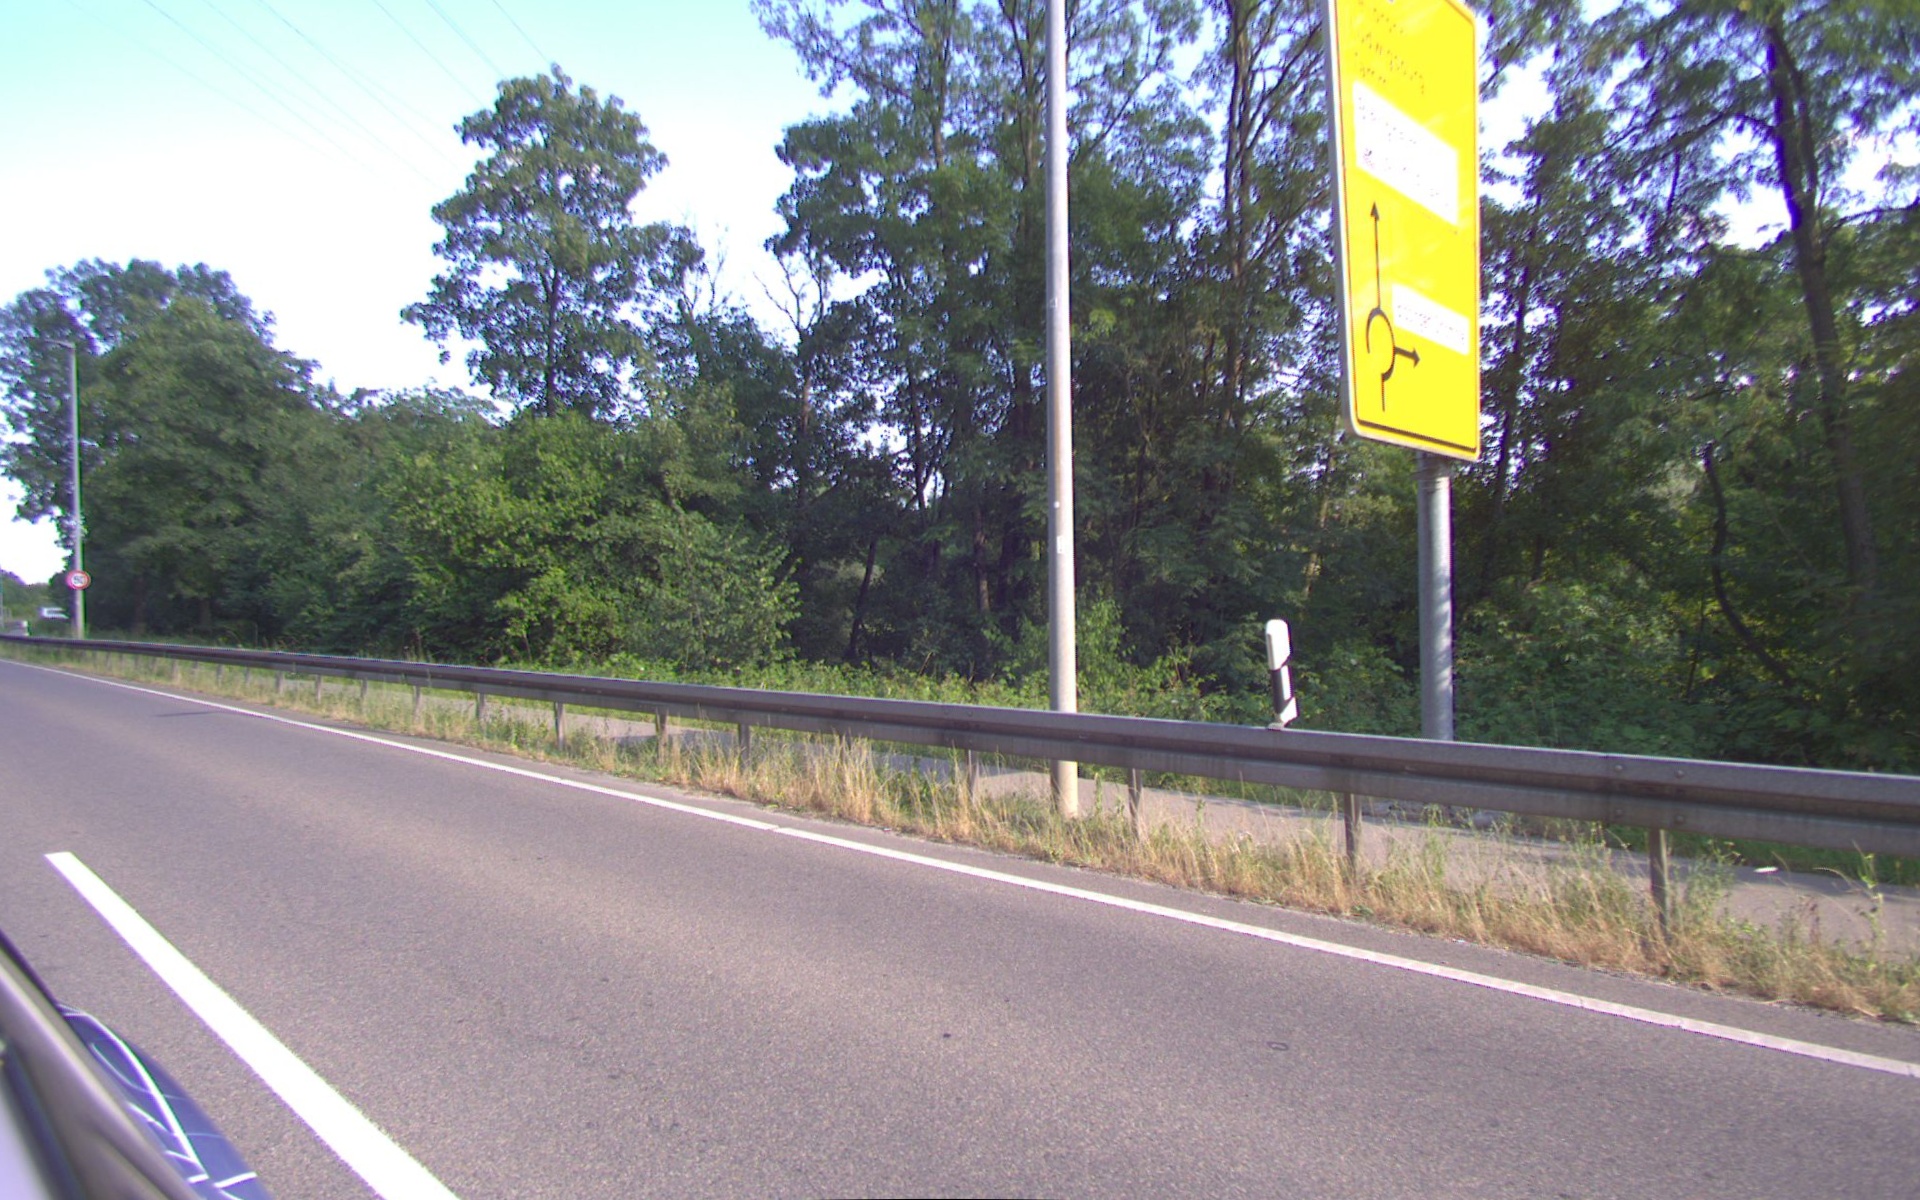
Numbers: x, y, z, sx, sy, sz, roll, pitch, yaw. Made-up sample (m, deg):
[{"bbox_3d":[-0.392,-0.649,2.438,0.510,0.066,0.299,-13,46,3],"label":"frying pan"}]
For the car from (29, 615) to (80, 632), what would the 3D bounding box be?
[{"bbox_3d":[-108.374,2.769,121.205,4.454,2.029,2.004,1,-1,-38],"label":"car"}]
